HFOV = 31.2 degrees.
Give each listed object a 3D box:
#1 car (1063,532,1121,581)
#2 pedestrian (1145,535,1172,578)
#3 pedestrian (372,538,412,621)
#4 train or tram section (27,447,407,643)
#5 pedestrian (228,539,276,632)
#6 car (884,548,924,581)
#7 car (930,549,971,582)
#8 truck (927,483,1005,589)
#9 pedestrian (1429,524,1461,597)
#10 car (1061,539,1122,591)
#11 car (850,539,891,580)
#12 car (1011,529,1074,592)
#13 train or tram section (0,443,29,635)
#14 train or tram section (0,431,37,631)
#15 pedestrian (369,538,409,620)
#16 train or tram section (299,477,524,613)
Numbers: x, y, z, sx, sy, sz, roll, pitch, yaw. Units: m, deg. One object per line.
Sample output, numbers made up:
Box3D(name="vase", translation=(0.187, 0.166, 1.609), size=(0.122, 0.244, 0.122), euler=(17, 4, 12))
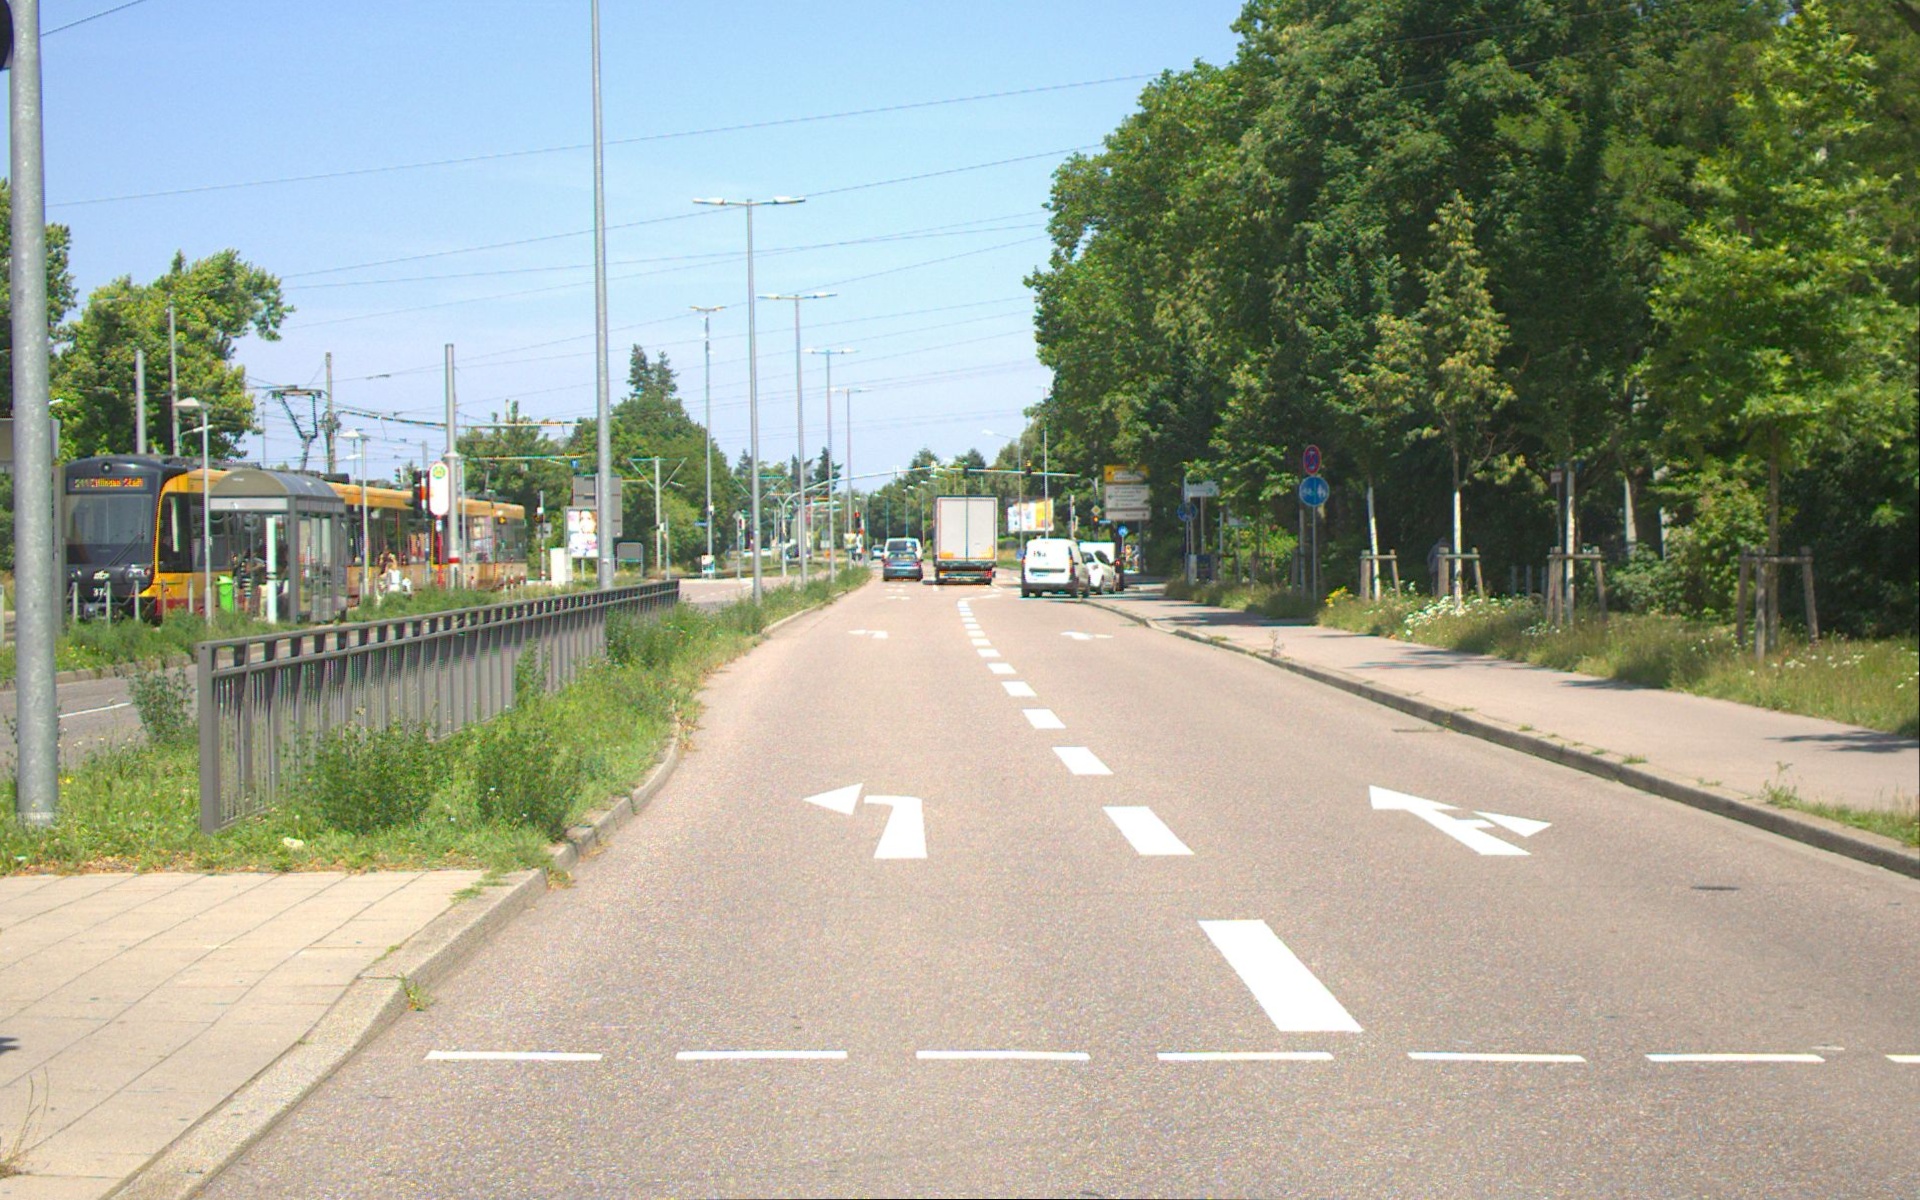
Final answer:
Box3D(name="car", translation=(4.541, -1.514, 118.792), size=(1.779, 1.663, 4.000), euler=(0, 1, -1))
Box3D(name="pedestrian", translation=(9.429, -2.067, 163.290), size=(1.185, 2.007, 1.214), euler=(0, 1, 0))
Box3D(name="pedestrian", translation=(-13.823, -0.508, 83.658), size=(0.815, 2.007, 0.938), euler=(0, 1, -1))
Box3D(name="train or tram section", translation=(-16.728, -1.324, 81.246), size=(2.957, 3.736, 30.035), euler=(0, 1, -1))
Box3D(name="pedestrian", translation=(-14.264, -0.302, 69.306), size=(0.785, 1.862, 0.817), euler=(0, 1, -1))
Box3D(name="car", translation=(-2.564, -1.650, 157.888), size=(1.811, 1.459, 4.000), euler=(0, 1, -1))
Box3D(name="car", translation=(-0.440, -1.556, 153.621), size=(1.811, 1.459, 4.000), euler=(0, 1, -1))
Box3D(name="truck", translation=(0.206, -2.718, 146.056), size=(3.205, 4.344, 6.561), euler=(0, 1, -1))
Box3D(name="pedestrian", translation=(9.567, -0.776, 67.844), size=(0.604, 1.433, 0.556), euler=(0, 1, 6))
Box3D(name="car", translation=(4.291, -1.150, 112.449), size=(1.779, 1.663, 4.000), euler=(0, 1, -1))
Box3D(name="car", translation=(-4.560, -2.074, 175.169), size=(1.993, 2.007, 4.000), euler=(0, 1, -1))
Box3D(name="car", translation=(2.503, -1.221, 105.519), size=(1.779, 1.897, 4.000), euler=(0, 1, -1))
Box3D(name="train or tram section", translation=(-24.794, -1.344, 77.793), size=(3.215, 3.918, 18.503), euler=(-1, 1, -28))
Box3D(name="train or tram section", translation=(-19.896, -1.241, 61.470), size=(3.215, 3.918, 18.504), euler=(0, 1, -5))
Box3D(name="pedestrian", translation=(-14.101, -0.524, 84.952), size=(0.815, 2.007, 0.938), euler=(0, 1, -1))
Box3D(name="train or tram section", translation=(-17.449, -1.837, 112.799), size=(2.931, 3.776, 33.090), euler=(0, 1, -2))
